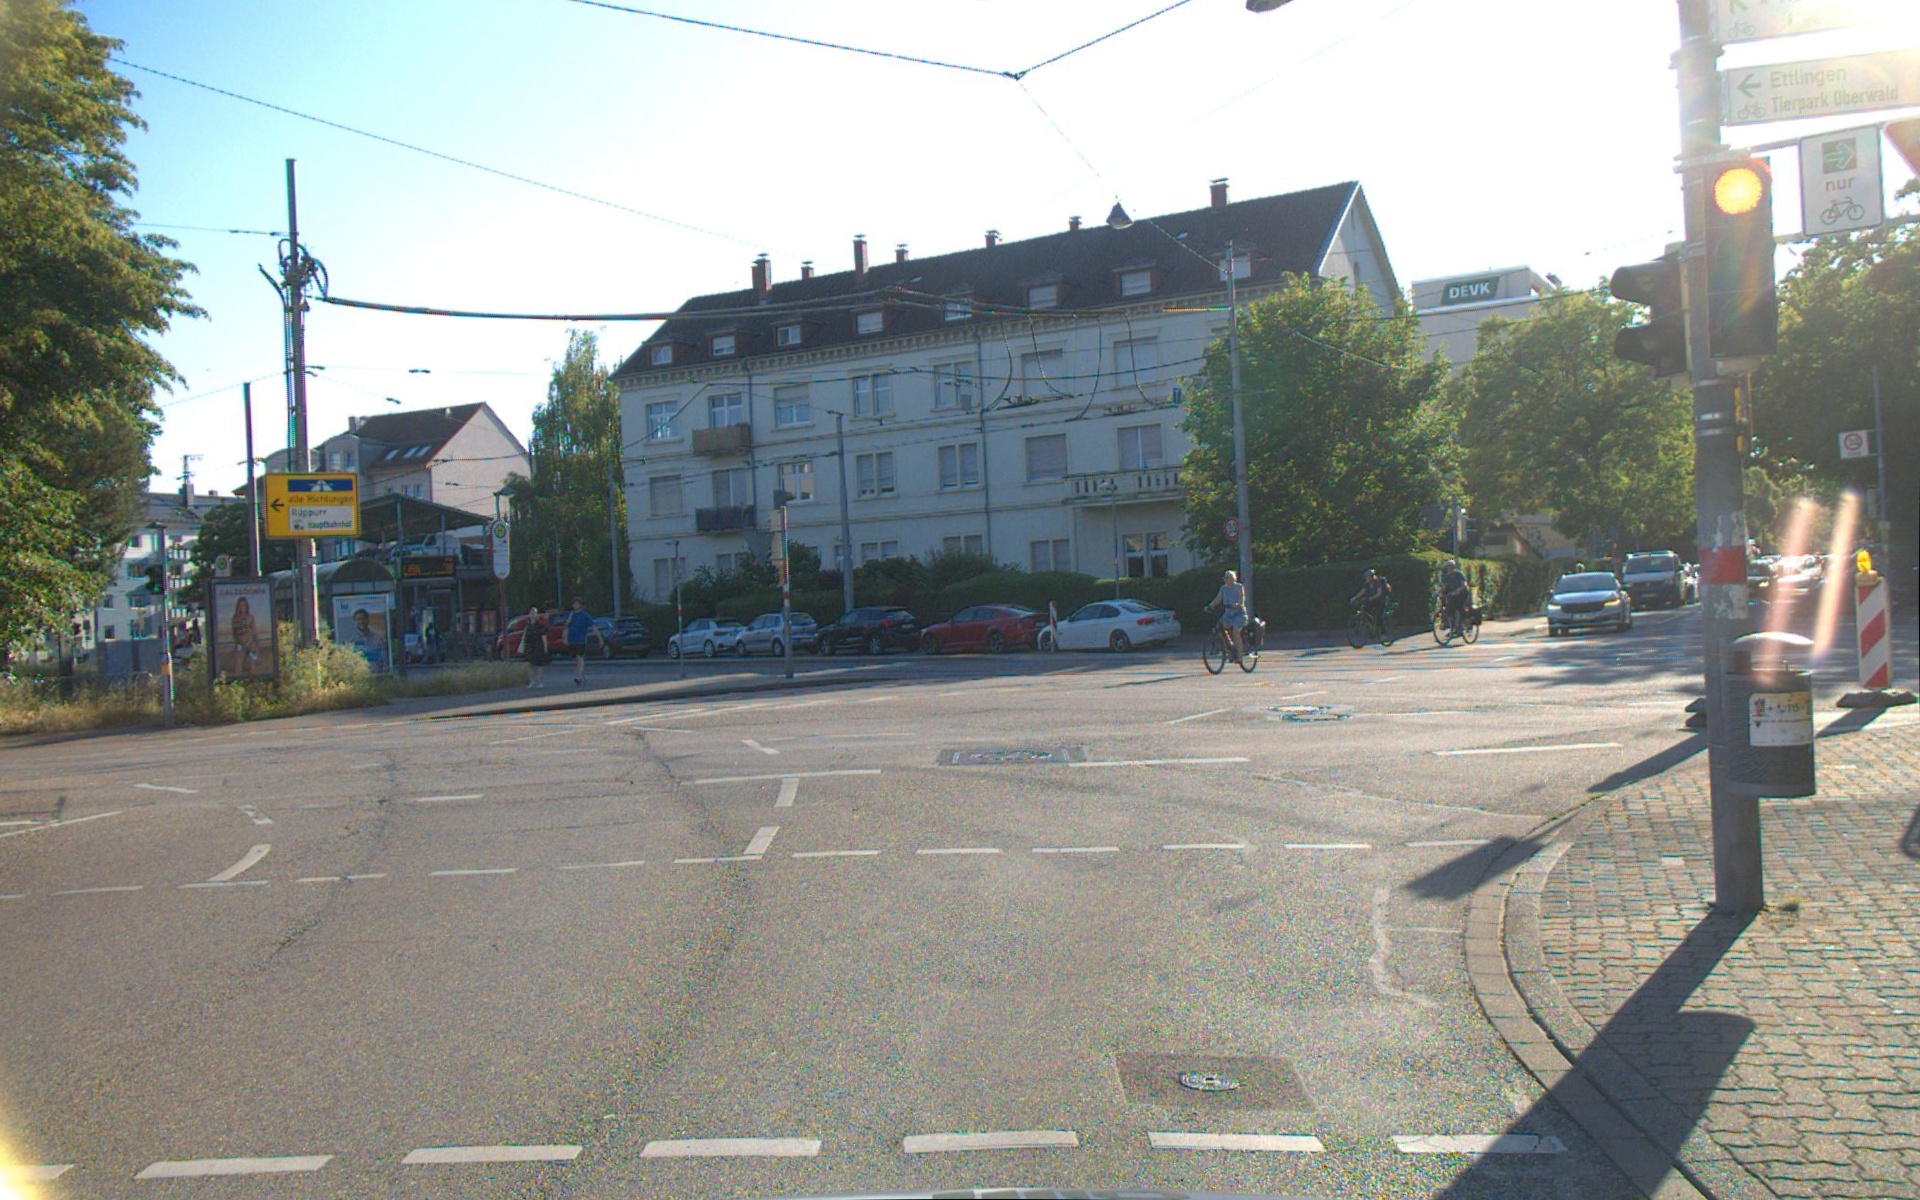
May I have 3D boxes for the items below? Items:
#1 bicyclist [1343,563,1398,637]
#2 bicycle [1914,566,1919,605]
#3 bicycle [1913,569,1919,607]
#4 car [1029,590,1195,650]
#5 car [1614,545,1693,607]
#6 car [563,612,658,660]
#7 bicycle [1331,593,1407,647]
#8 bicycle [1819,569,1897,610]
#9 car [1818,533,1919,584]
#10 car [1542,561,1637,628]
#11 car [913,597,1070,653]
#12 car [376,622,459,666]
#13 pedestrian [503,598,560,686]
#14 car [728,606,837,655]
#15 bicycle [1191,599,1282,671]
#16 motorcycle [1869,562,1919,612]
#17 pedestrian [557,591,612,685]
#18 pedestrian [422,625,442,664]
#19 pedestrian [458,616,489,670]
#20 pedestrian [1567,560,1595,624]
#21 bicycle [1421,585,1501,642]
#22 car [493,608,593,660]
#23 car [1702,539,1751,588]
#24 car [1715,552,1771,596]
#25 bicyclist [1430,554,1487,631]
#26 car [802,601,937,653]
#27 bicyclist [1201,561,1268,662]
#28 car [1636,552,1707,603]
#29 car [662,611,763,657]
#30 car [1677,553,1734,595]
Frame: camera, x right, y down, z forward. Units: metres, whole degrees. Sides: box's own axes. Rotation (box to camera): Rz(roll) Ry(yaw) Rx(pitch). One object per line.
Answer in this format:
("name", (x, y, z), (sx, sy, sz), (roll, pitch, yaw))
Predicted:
("bicyclist", (8.992, -0.008, 36.225), (1.030, 1.558, 0.650), (-3, 0, -45))
("bicycle", (24.373, -0.401, 40.504), (1.691, 0.949, 0.561), (-3, 0, 29))
("bicycle", (24.733, -0.347, 41.182), (1.691, 0.949, 0.561), (-3, 0, 29))
("car", (4.199, 0.586, 46.180), (1.916, 1.400, 4.426), (-6, 2, -43))
("car", (25.347, -0.873, 60.336), (2.308, 2.049, 5.306), (-3, 0, 26))
("car", (-14.193, 1.470, 66.968), (1.830, 1.696, 4.304), (-6, 2, -41))
("bicycle", (8.970, 0.430, 36.214), (0.652, 1.087, 2.005), (-3, 0, 44))
("bicycle", (22.775, -0.265, 41.982), (1.690, 0.949, 0.671), (-3, 0, 29))
("car", (40.815, -1.831, 73.121), (4.990, 1.958, 2.360), (-3, -2, 26))
("car", (15.155, -0.116, 39.700), (1.853, 1.512, 3.997), (1, 0, 25))
("car", (0.914, 0.763, 50.123), (4.625, 1.400, 1.974), (-3, 2, 44))
("car", (-27.192, 2.222, 82.783), (2.039, 1.995, 5.073), (-6, 2, -41))
("pedestrian", (-9.010, 0.869, 34.845), (0.894, 1.777, 1.067), (-3, 0, -4))
("car", (-6.211, 1.078, 57.765), (1.971, 1.472, 3.663), (-6, 2, -41))
("bicycle", (4.641, 0.573, 27.677), (0.650, 1.087, 2.012), (-3, 0, 35))
("motorcycle", (22.935, -0.331, 39.593), (1.912, 1.128, 0.837), (-3, 0, 24))
("pedestrian", (-8.061, 0.804, 35.531), (0.894, 1.958, 1.067), (-3, 0, -4))
("pedestrian", (-21.092, 1.782, 66.080), (0.560, 1.527, 0.672), (-3, 0, -29))
("pedestrian", (-19.181, 1.678, 65.194), (0.914, 2.048, 0.759), (-2, 1, -37))
("pedestrian", (18.728, -0.237, 49.867), (0.648, 1.871, 0.682), (-3, 0, 28))
("bicycle", (10.557, 0.276, 34.814), (2.003, 1.087, 0.653), (-3, 0, -43))
("car", (-18.164, 1.512, 71.948), (2.039, 1.995, 5.073), (-6, 2, -41))
("car", (43.110, -2.037, 92.946), (2.308, 2.558, 5.306), (-3, 0, 26))
("car", (30.658, -1.031, 64.719), (1.856, 1.591, 4.389), (-3, 0, 26))
("bicyclist", (10.486, -0.169, 34.781), (1.029, 1.558, 0.687), (-3, 0, -43))
("car", (-3.031, 0.905, 54.570), (1.970, 1.472, 4.634), (-6, 2, -41))
("bicyclist", (4.621, 0.187, 27.796), (0.761, 1.633, 0.855), (-3, 0, 35))
("car", (28.348, -0.922, 65.762), (2.308, 1.826, 5.306), (-3, 0, 26))
("car", (-9.175, 1.266, 61.211), (1.830, 1.472, 3.899), (-6, 2, -41))
("car", (35.641, -1.253, 78.974), (2.308, 1.826, 5.306), (-3, 0, 26))
